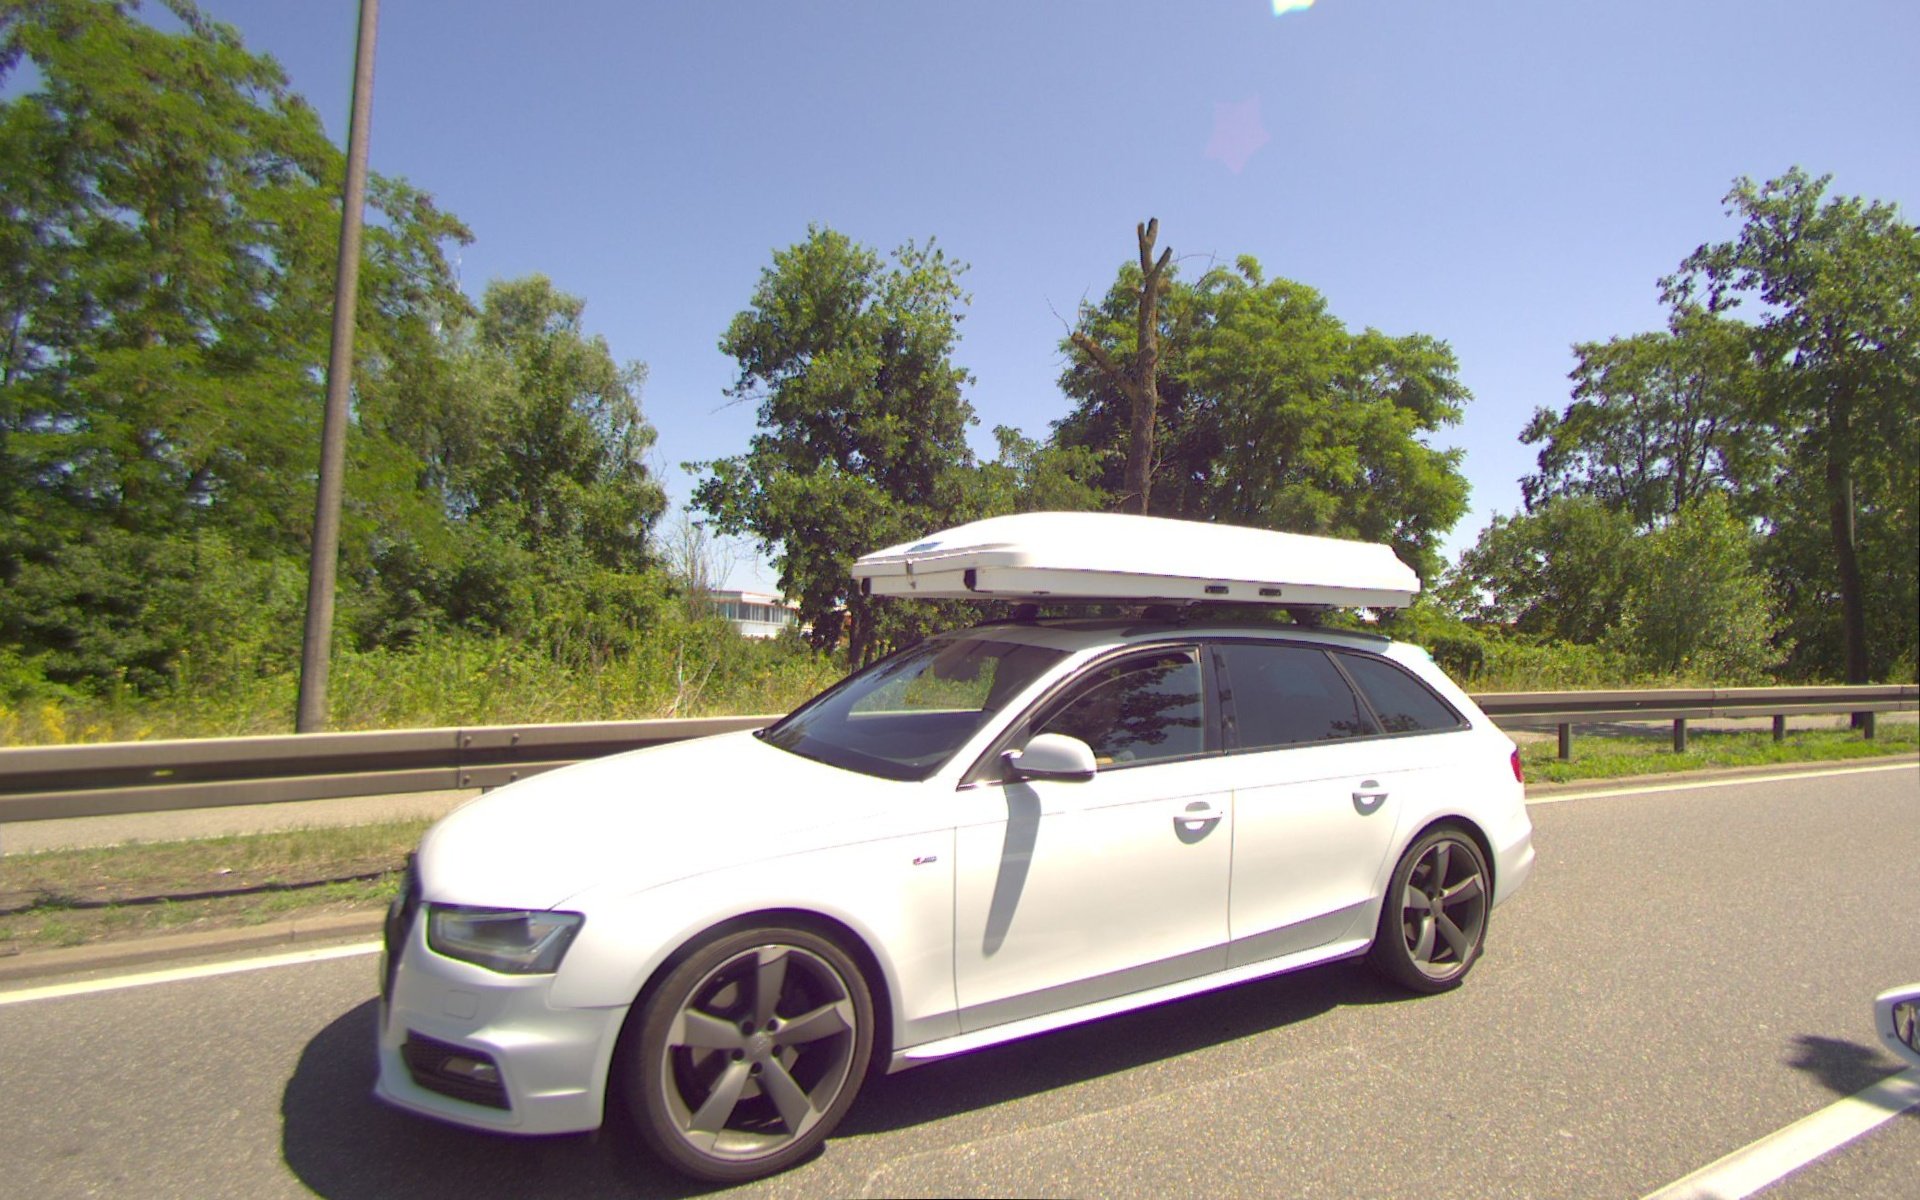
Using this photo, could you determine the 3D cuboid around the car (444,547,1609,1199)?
[{"bbox_3d":[0.449,0.651,4.039,4.413,1.440,1.811,2,0,-30],"label":"car"}]
